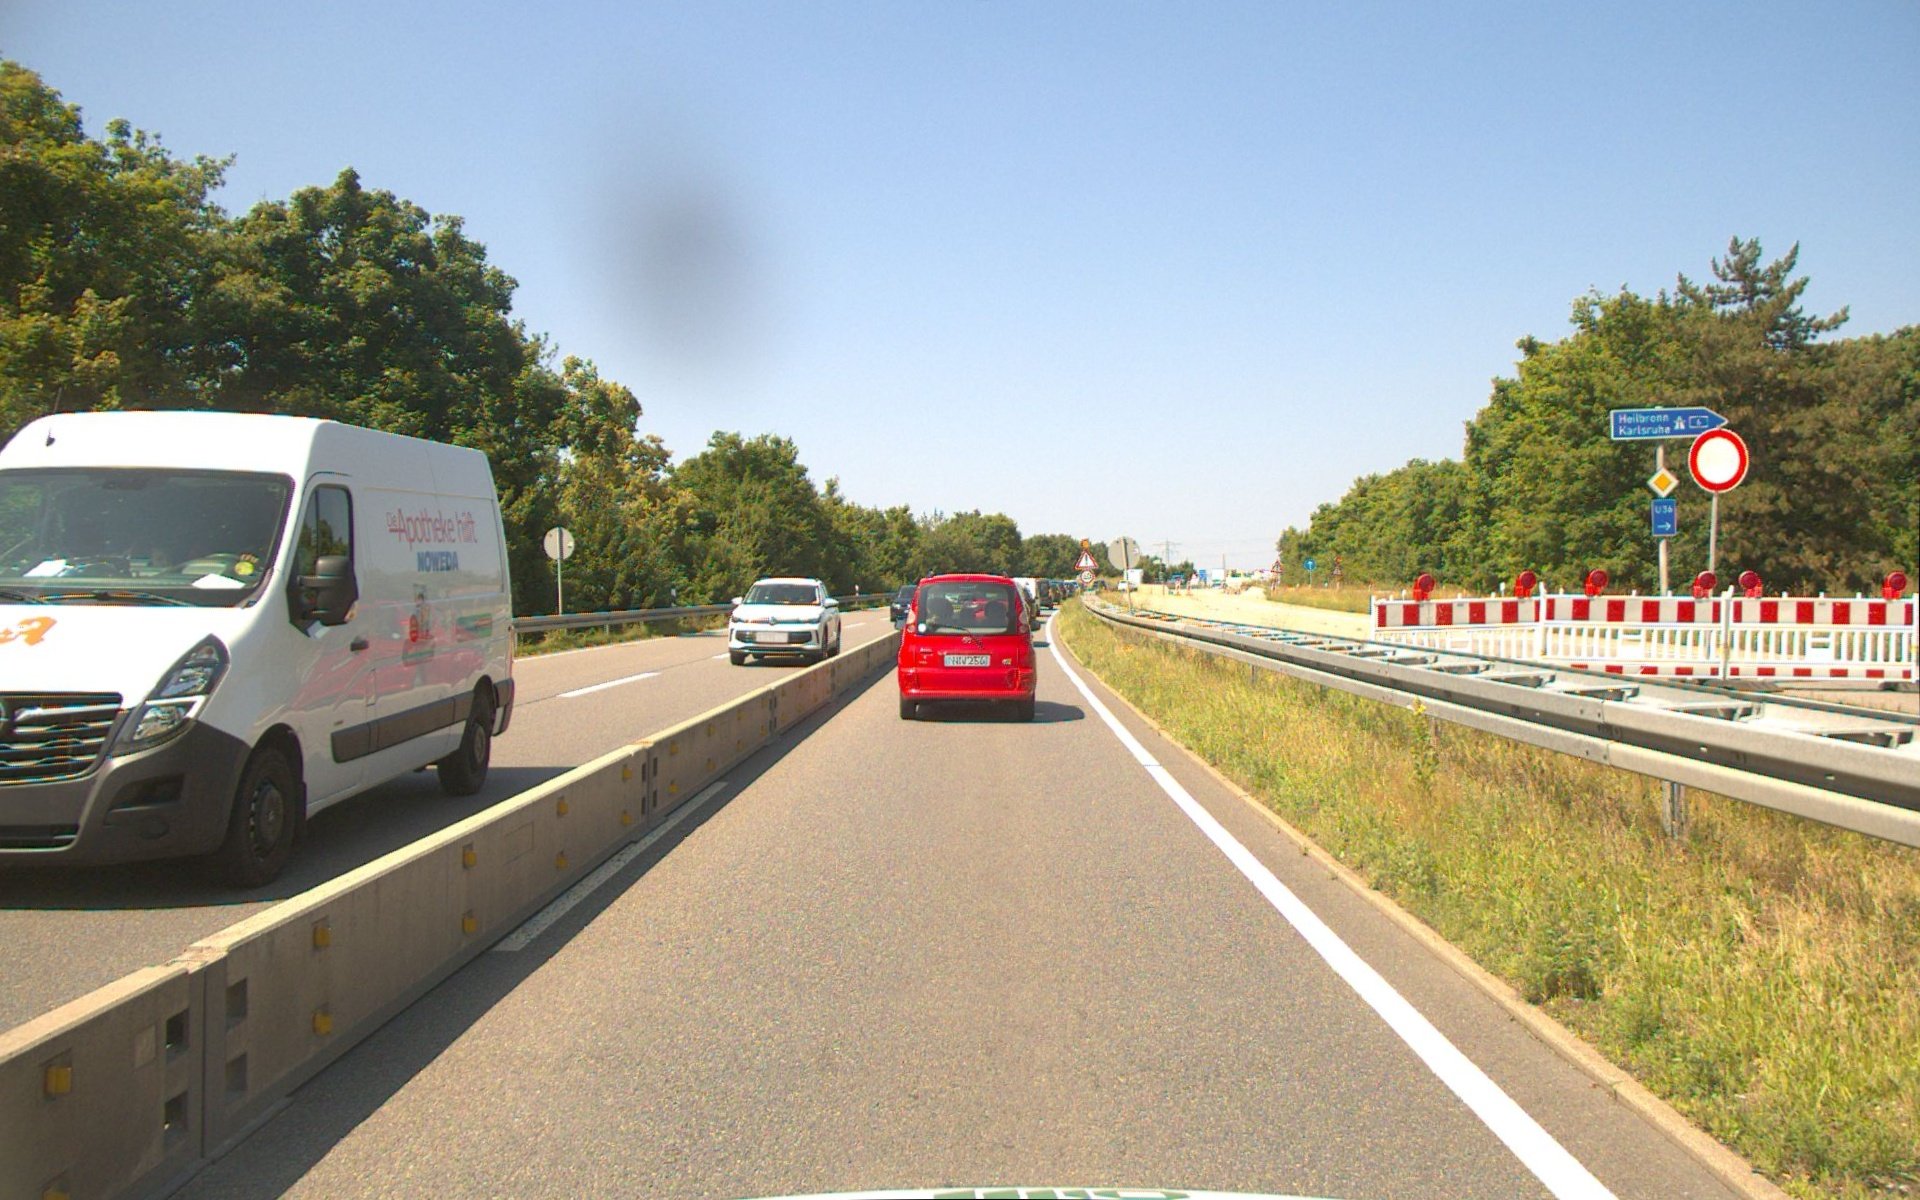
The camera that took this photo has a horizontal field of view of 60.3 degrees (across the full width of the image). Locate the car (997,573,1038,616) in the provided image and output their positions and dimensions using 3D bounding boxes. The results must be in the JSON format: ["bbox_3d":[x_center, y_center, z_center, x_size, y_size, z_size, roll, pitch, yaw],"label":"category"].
[{"bbox_3d":[2.855,-0.270,81.372,1.952,2.038,4.002,0,0,3],"label":"car"}]

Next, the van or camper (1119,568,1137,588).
[{"bbox_3d":[23.715,-3.078,233.870,2.279,2.754,4.595,-1,0,3],"label":"van or camper"}]

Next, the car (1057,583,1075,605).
[{"bbox_3d":[9.091,-0.521,141.832,1.470,1.767,3.172,1,0,6],"label":"car"}]

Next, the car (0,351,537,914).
[{"bbox_3d":[-4.321,0.124,10.228,2.019,2.529,5.559,0,0,-1],"label":"car"}]

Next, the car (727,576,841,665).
[{"bbox_3d":[-3.399,0.368,32.676,1.811,1.629,4.321,0,0,0],"label":"car"}]

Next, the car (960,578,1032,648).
[{"bbox_3d":[0.946,0.318,43.874,1.792,1.752,4.000,1,0,1],"label":"car"}]

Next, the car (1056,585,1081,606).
[{"bbox_3d":[8.522,-0.347,130.421,1.952,1.612,4.002,0,0,3],"label":"car"}]

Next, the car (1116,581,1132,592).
[{"bbox_3d":[21.948,-1.823,221.553,1.951,1.512,4.002,-1,0,4],"label":"car"}]

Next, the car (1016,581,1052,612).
[{"bbox_3d":[4.373,-0.203,97.808,1.953,1.780,4.000,0,0,0],"label":"car"}]

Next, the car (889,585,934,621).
[{"bbox_3d":[-1.978,0.106,68.296,1.778,1.449,4.108,0,0,-1],"label":"car"}]

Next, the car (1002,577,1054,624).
[{"bbox_3d":[2.772,0.017,68.124,1.952,1.870,4.000,0,0,0],"label":"car"}]

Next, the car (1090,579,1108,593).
[{"bbox_3d":[15.823,-1.620,188.501,1.951,1.579,4.003,-1,0,5],"label":"car"}]

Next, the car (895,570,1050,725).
[{"bbox_3d":[0.174,0.500,20.608,1.715,1.702,4.001,1,1,1],"label":"car"}]

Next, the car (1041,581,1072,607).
[{"bbox_3d":[6.767,-0.437,116.038,1.952,1.814,4.000,-1,0,1],"label":"car"}]
